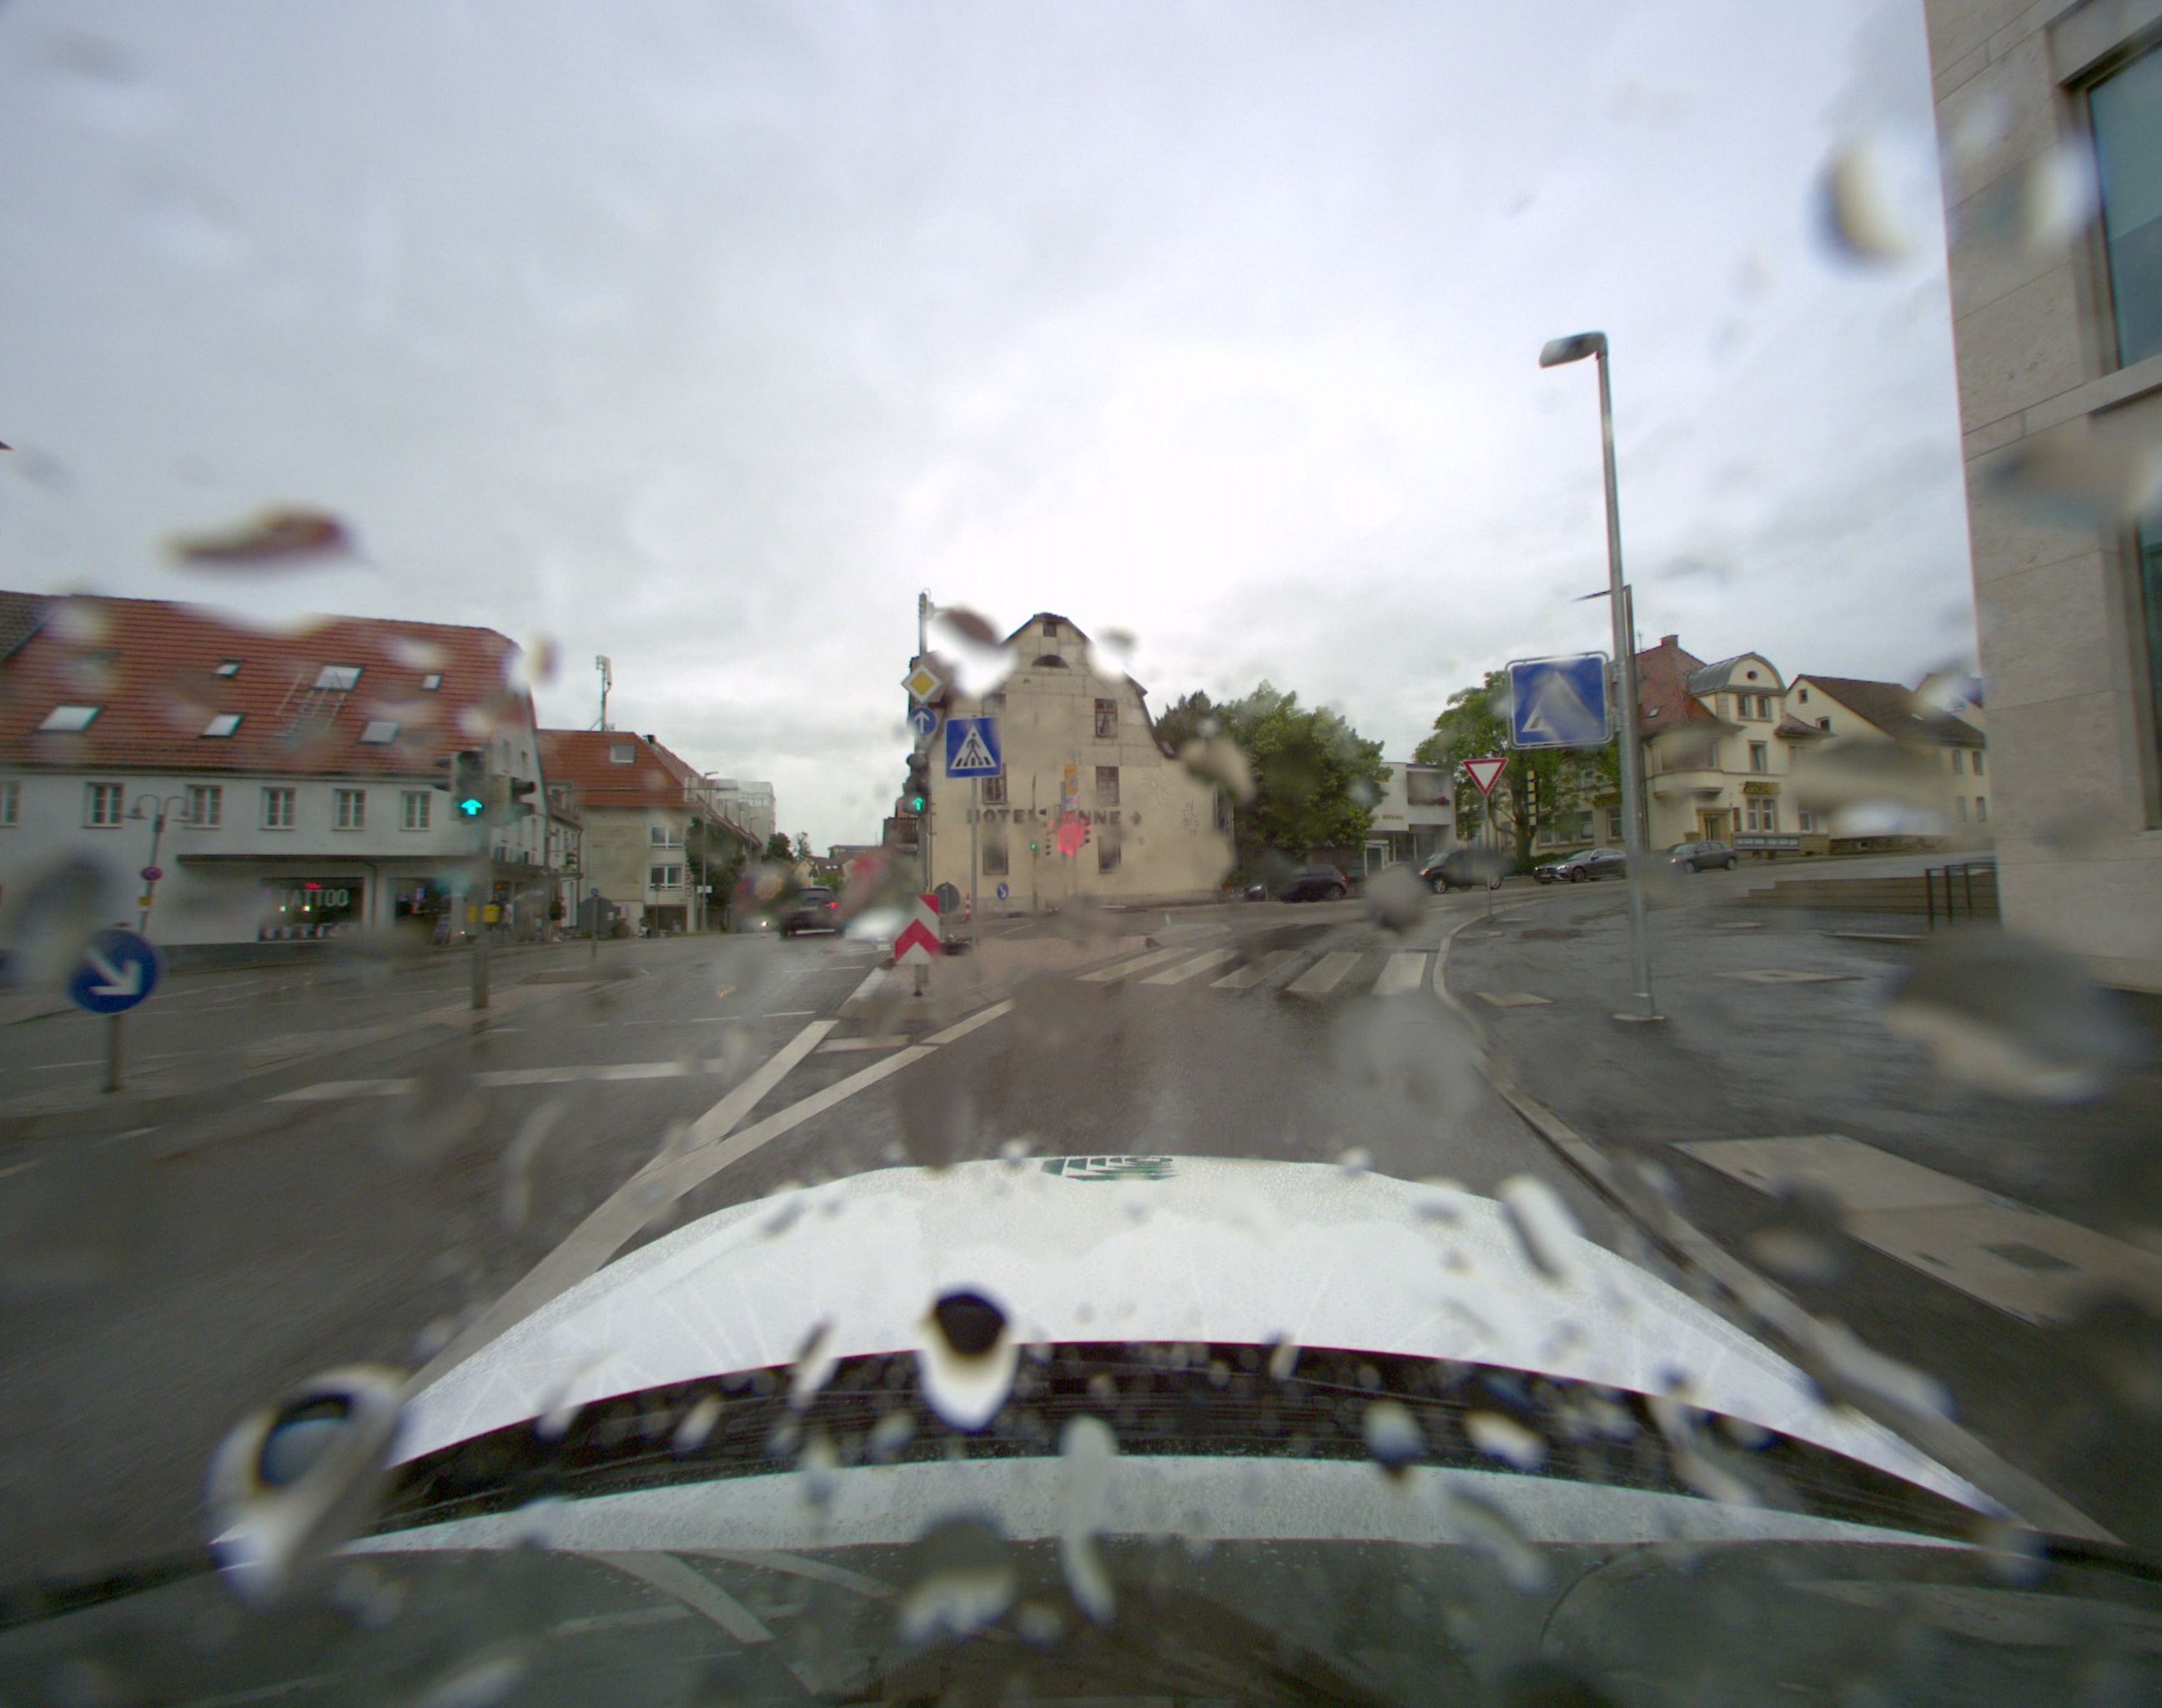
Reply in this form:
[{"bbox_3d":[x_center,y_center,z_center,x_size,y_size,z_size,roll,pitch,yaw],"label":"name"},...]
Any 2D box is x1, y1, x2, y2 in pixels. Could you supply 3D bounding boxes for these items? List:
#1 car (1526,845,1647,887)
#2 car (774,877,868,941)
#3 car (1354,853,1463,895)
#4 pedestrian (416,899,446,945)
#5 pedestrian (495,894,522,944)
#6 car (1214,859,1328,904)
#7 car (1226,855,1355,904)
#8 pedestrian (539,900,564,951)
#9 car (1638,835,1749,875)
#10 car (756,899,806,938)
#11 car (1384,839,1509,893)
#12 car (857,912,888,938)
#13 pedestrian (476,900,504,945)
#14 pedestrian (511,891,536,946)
[{"bbox_3d":[21.530,0.503,34.682,4.537,1.452,1.767,-3,-4,-18],"label":"car"},{"bbox_3d":[-7.983,1.638,25.451,1.942,1.566,4.407,-1,1,-7],"label":"car"},{"bbox_3d":[14.354,0.868,35.758,4.183,1.519,1.767,-3,-4,-18],"label":"car"},{"bbox_3d":[-22.647,2.360,28.381,0.594,1.559,0.630,-2,-1,-20],"label":"pedestrian"},{"bbox_3d":[-21.048,2.369,29.946,0.594,1.774,0.630,-2,-1,-20],"label":"pedestrian"},{"bbox_3d":[7.839,1.127,33.625,4.183,1.519,1.767,-3,-4,-18],"label":"car"},{"bbox_3d":[7.790,0.944,30.356,4.315,1.505,1.767,-3,-4,-19],"label":"car"},{"bbox_3d":[-20.046,2.696,30.844,0.605,1.867,0.743,-2,-1,-20],"label":"pedestrian"},{"bbox_3d":[27.469,0.038,36.534,4.183,1.452,1.767,-3,-4,-18],"label":"car"},{"bbox_3d":[-23.193,4.938,63.272,2.589,2.626,6.529,-3,-1,-12],"label":"car"},{"bbox_3d":[14.463,0.480,32.287,4.313,1.816,1.767,-3,-4,-18],"label":"car"},{"bbox_3d":[-15.333,5.193,59.959,1.887,1.467,3.986,-2,1,-10],"label":"car"},{"bbox_3d":[-21.068,2.433,29.043,0.594,1.559,0.630,-2,-1,-20],"label":"pedestrian"},{"bbox_3d":[-19.627,2.251,28.675,0.536,1.871,0.630,-2,-1,-20],"label":"pedestrian"}]
